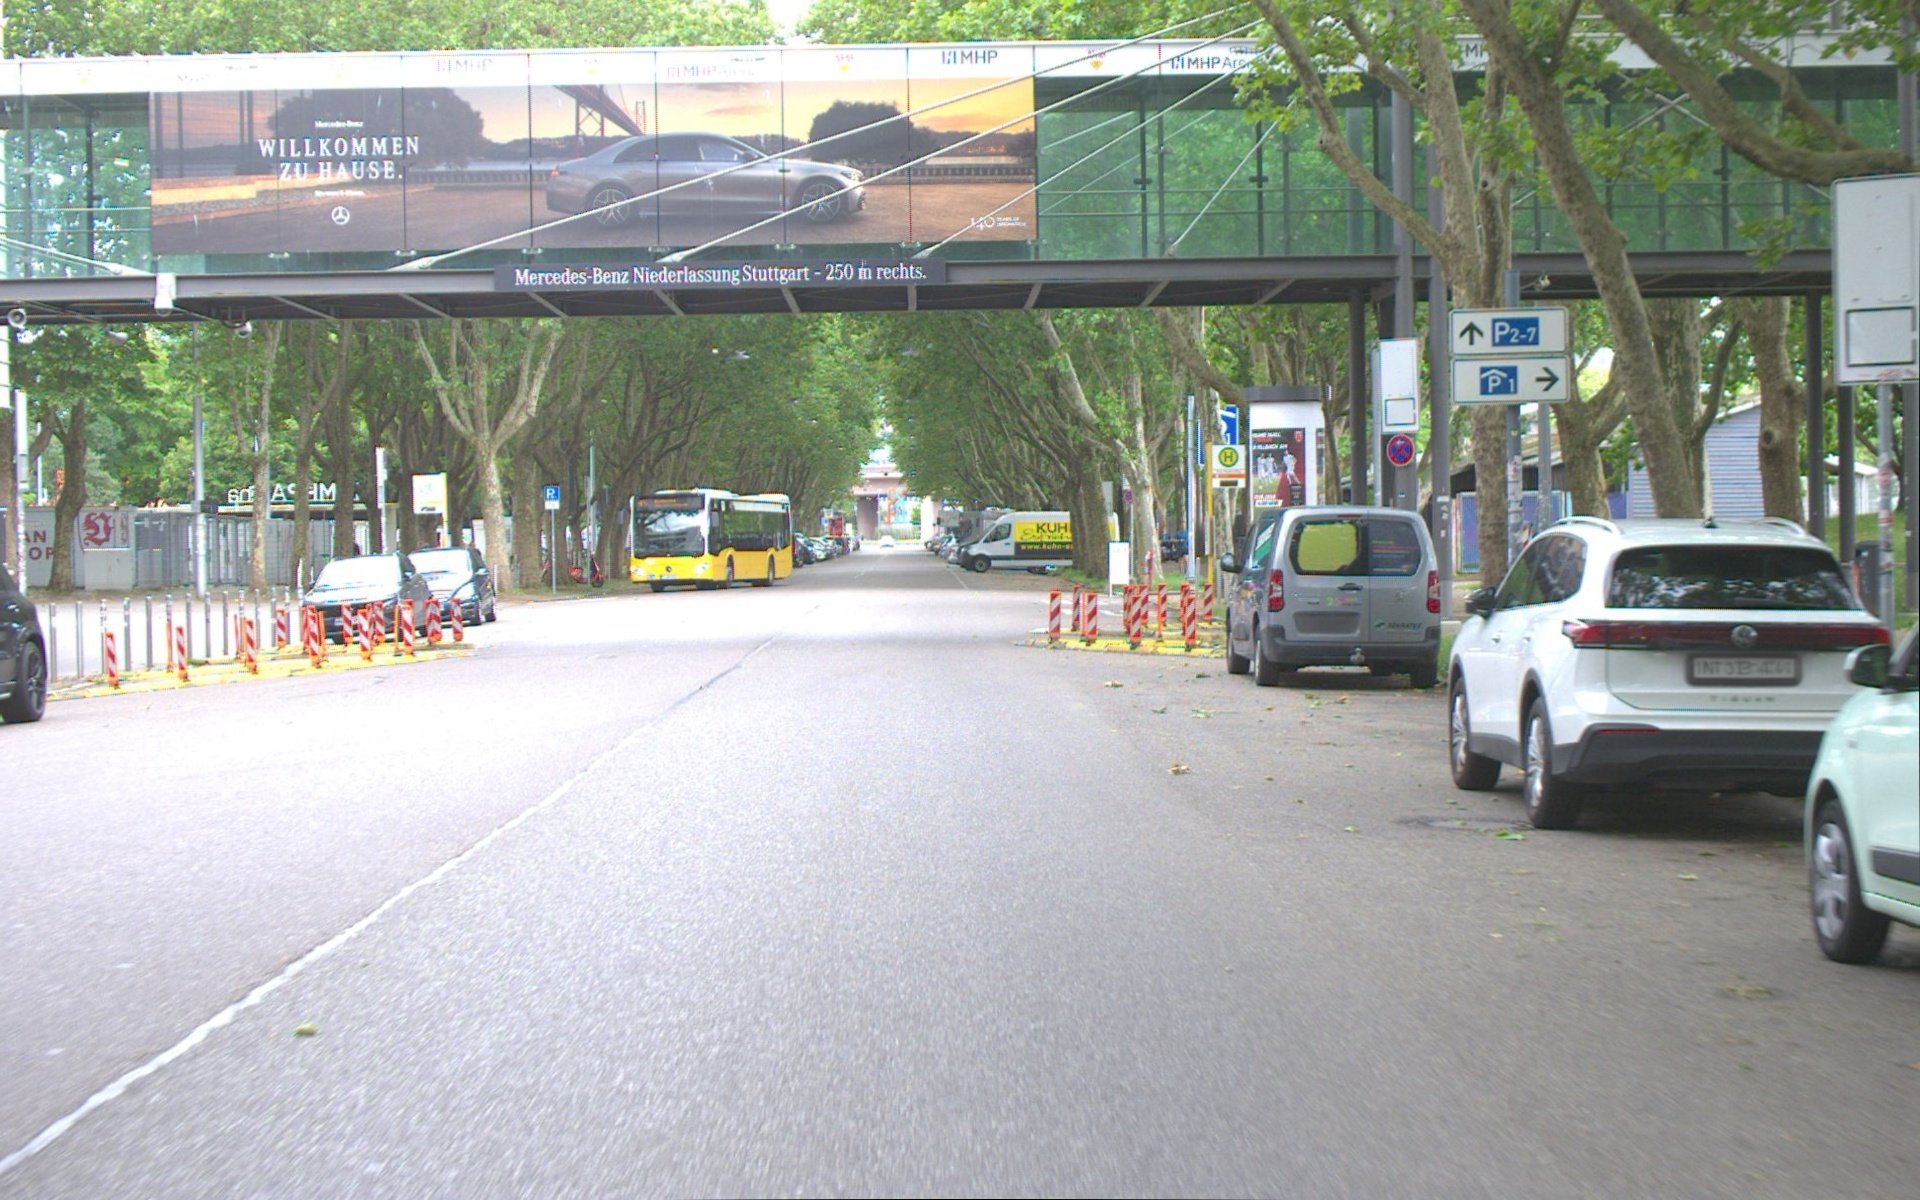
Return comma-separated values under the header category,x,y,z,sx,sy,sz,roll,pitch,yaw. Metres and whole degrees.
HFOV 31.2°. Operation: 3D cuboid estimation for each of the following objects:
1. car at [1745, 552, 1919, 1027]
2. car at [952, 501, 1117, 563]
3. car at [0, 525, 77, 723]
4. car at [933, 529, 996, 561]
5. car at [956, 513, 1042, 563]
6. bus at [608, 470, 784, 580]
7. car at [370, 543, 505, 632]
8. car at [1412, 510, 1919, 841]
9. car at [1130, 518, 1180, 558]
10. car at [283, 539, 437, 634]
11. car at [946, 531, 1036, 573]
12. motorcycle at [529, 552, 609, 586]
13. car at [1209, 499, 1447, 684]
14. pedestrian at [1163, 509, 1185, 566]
category,x,y,z,sx,sy,sz,roll,pitch,yaw
car,4.002,0.608,11.431,1.807,1.521,4.096,-1,1,0
car,3.142,-2.902,145.703,6.822,2.505,2.317,-1,1,-2
car,-9.745,0.279,31.362,2.034,1.783,4.908,-4,1,0
car,0.267,-3.174,198.943,3.621,1.787,1.543,-1,1,-1
car,1.843,-2.938,163.793,3.987,2.331,1.543,-1,1,-1
bus,-8.243,-2.386,109.361,3.039,3.149,12.674,-3,1,7
car,-10.414,-0.281,68.793,1.993,1.579,4.113,-4,1,0
car,3.835,0.330,19.324,1.914,1.612,4.749,-1,1,0
car,8.753,-2.787,154.621,1.993,1.766,4.000,-1,1,0
car,-10.444,-0.269,60.108,1.858,1.448,4.449,-4,1,0
car,1.371,-2.135,153.161,3.987,1.787,1.543,-1,1,-1
motorcycle,-13.334,-1.053,117.212,2.591,1.119,0.704,-1,1,-24
car,3.739,-0.131,35.764,1.847,1.776,5.211,0,1,-1
pedestrian,7.052,-2.055,113.303,0.572,1.881,0.617,-1,1,-9
